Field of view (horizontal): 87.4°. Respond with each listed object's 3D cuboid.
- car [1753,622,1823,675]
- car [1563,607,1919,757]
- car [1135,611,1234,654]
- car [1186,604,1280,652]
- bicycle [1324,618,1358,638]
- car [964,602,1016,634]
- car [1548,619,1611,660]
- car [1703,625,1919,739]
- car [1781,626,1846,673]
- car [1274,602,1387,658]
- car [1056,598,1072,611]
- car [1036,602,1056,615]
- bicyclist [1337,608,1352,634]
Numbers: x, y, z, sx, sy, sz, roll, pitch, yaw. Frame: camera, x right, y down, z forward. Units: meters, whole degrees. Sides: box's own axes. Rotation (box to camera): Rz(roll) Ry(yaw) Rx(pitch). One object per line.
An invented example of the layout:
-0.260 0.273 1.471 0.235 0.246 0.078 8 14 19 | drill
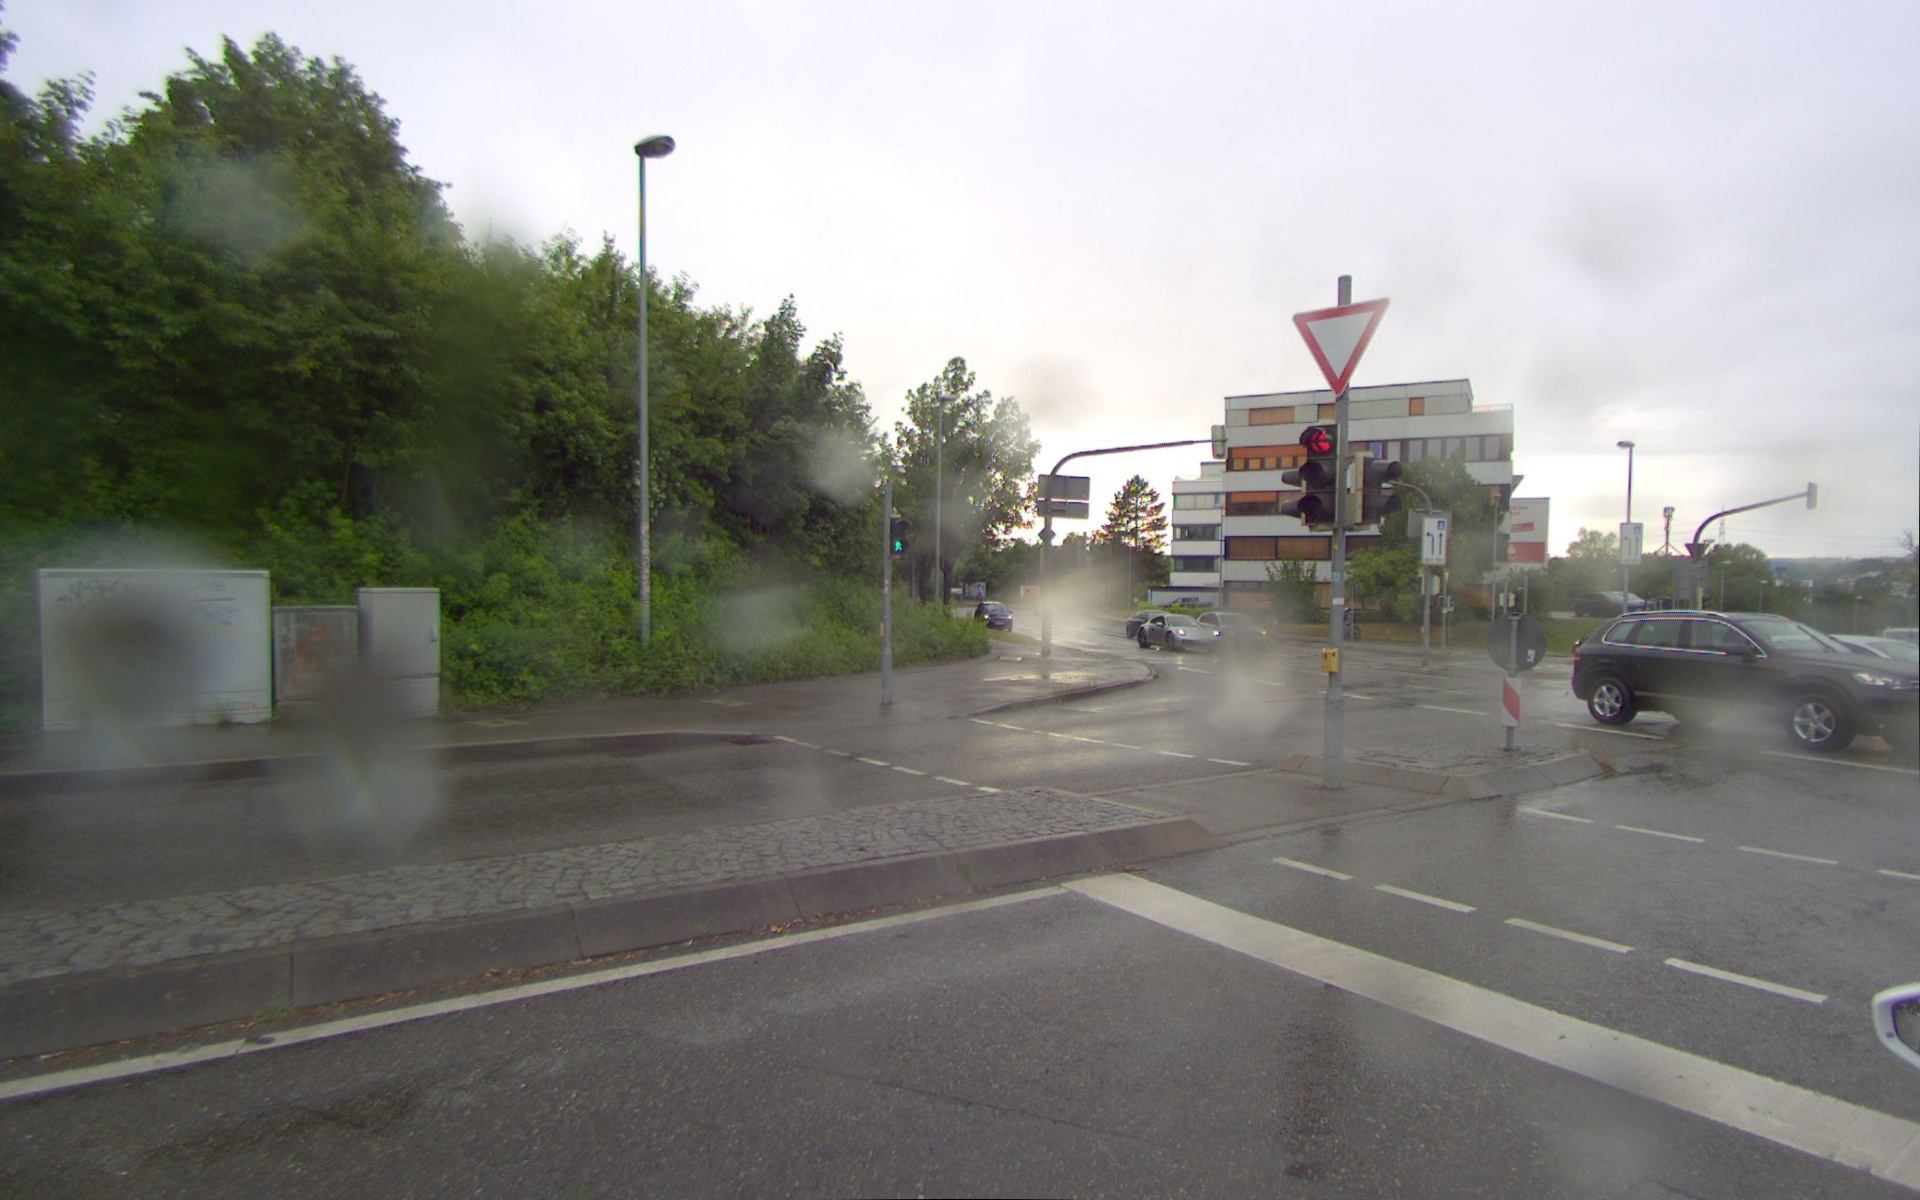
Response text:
33.432 1.899 40.524 1.971 1.920 3.978 2 1 42 | car
11.105 0.997 13.985 1.967 1.725 4.597 1 -1 -15 | car
8.112 1.148 36.752 1.825 1.377 4.435 1 1 -12 | car
10.695 1.070 39.692 1.965 1.706 3.990 1 1 -12 | car
21.860 1.584 57.644 0.605 1.066 1.758 1 1 -41 | bicycle
1.527 0.902 52.510 1.813 1.534 3.991 1 0 -11 | car
31.469 1.968 50.975 1.972 1.920 3.977 2 1 43 | car
13.893 1.194 15.053 1.895 1.436 4.139 1 1 -15 | car
38.850 2.193 45.688 1.973 1.920 3.975 2 1 44 | car
13.688 1.067 37.396 1.966 1.865 4.143 1 1 -14 | car
13.986 0.555 134.967 1.918 1.617 4.001 1 1 2 | car
8.262 0.830 96.629 1.784 1.120 3.517 1 0 4 | car
22.015 1.219 57.477 0.599 1.465 0.538 1 1 -42 | bicyclist
